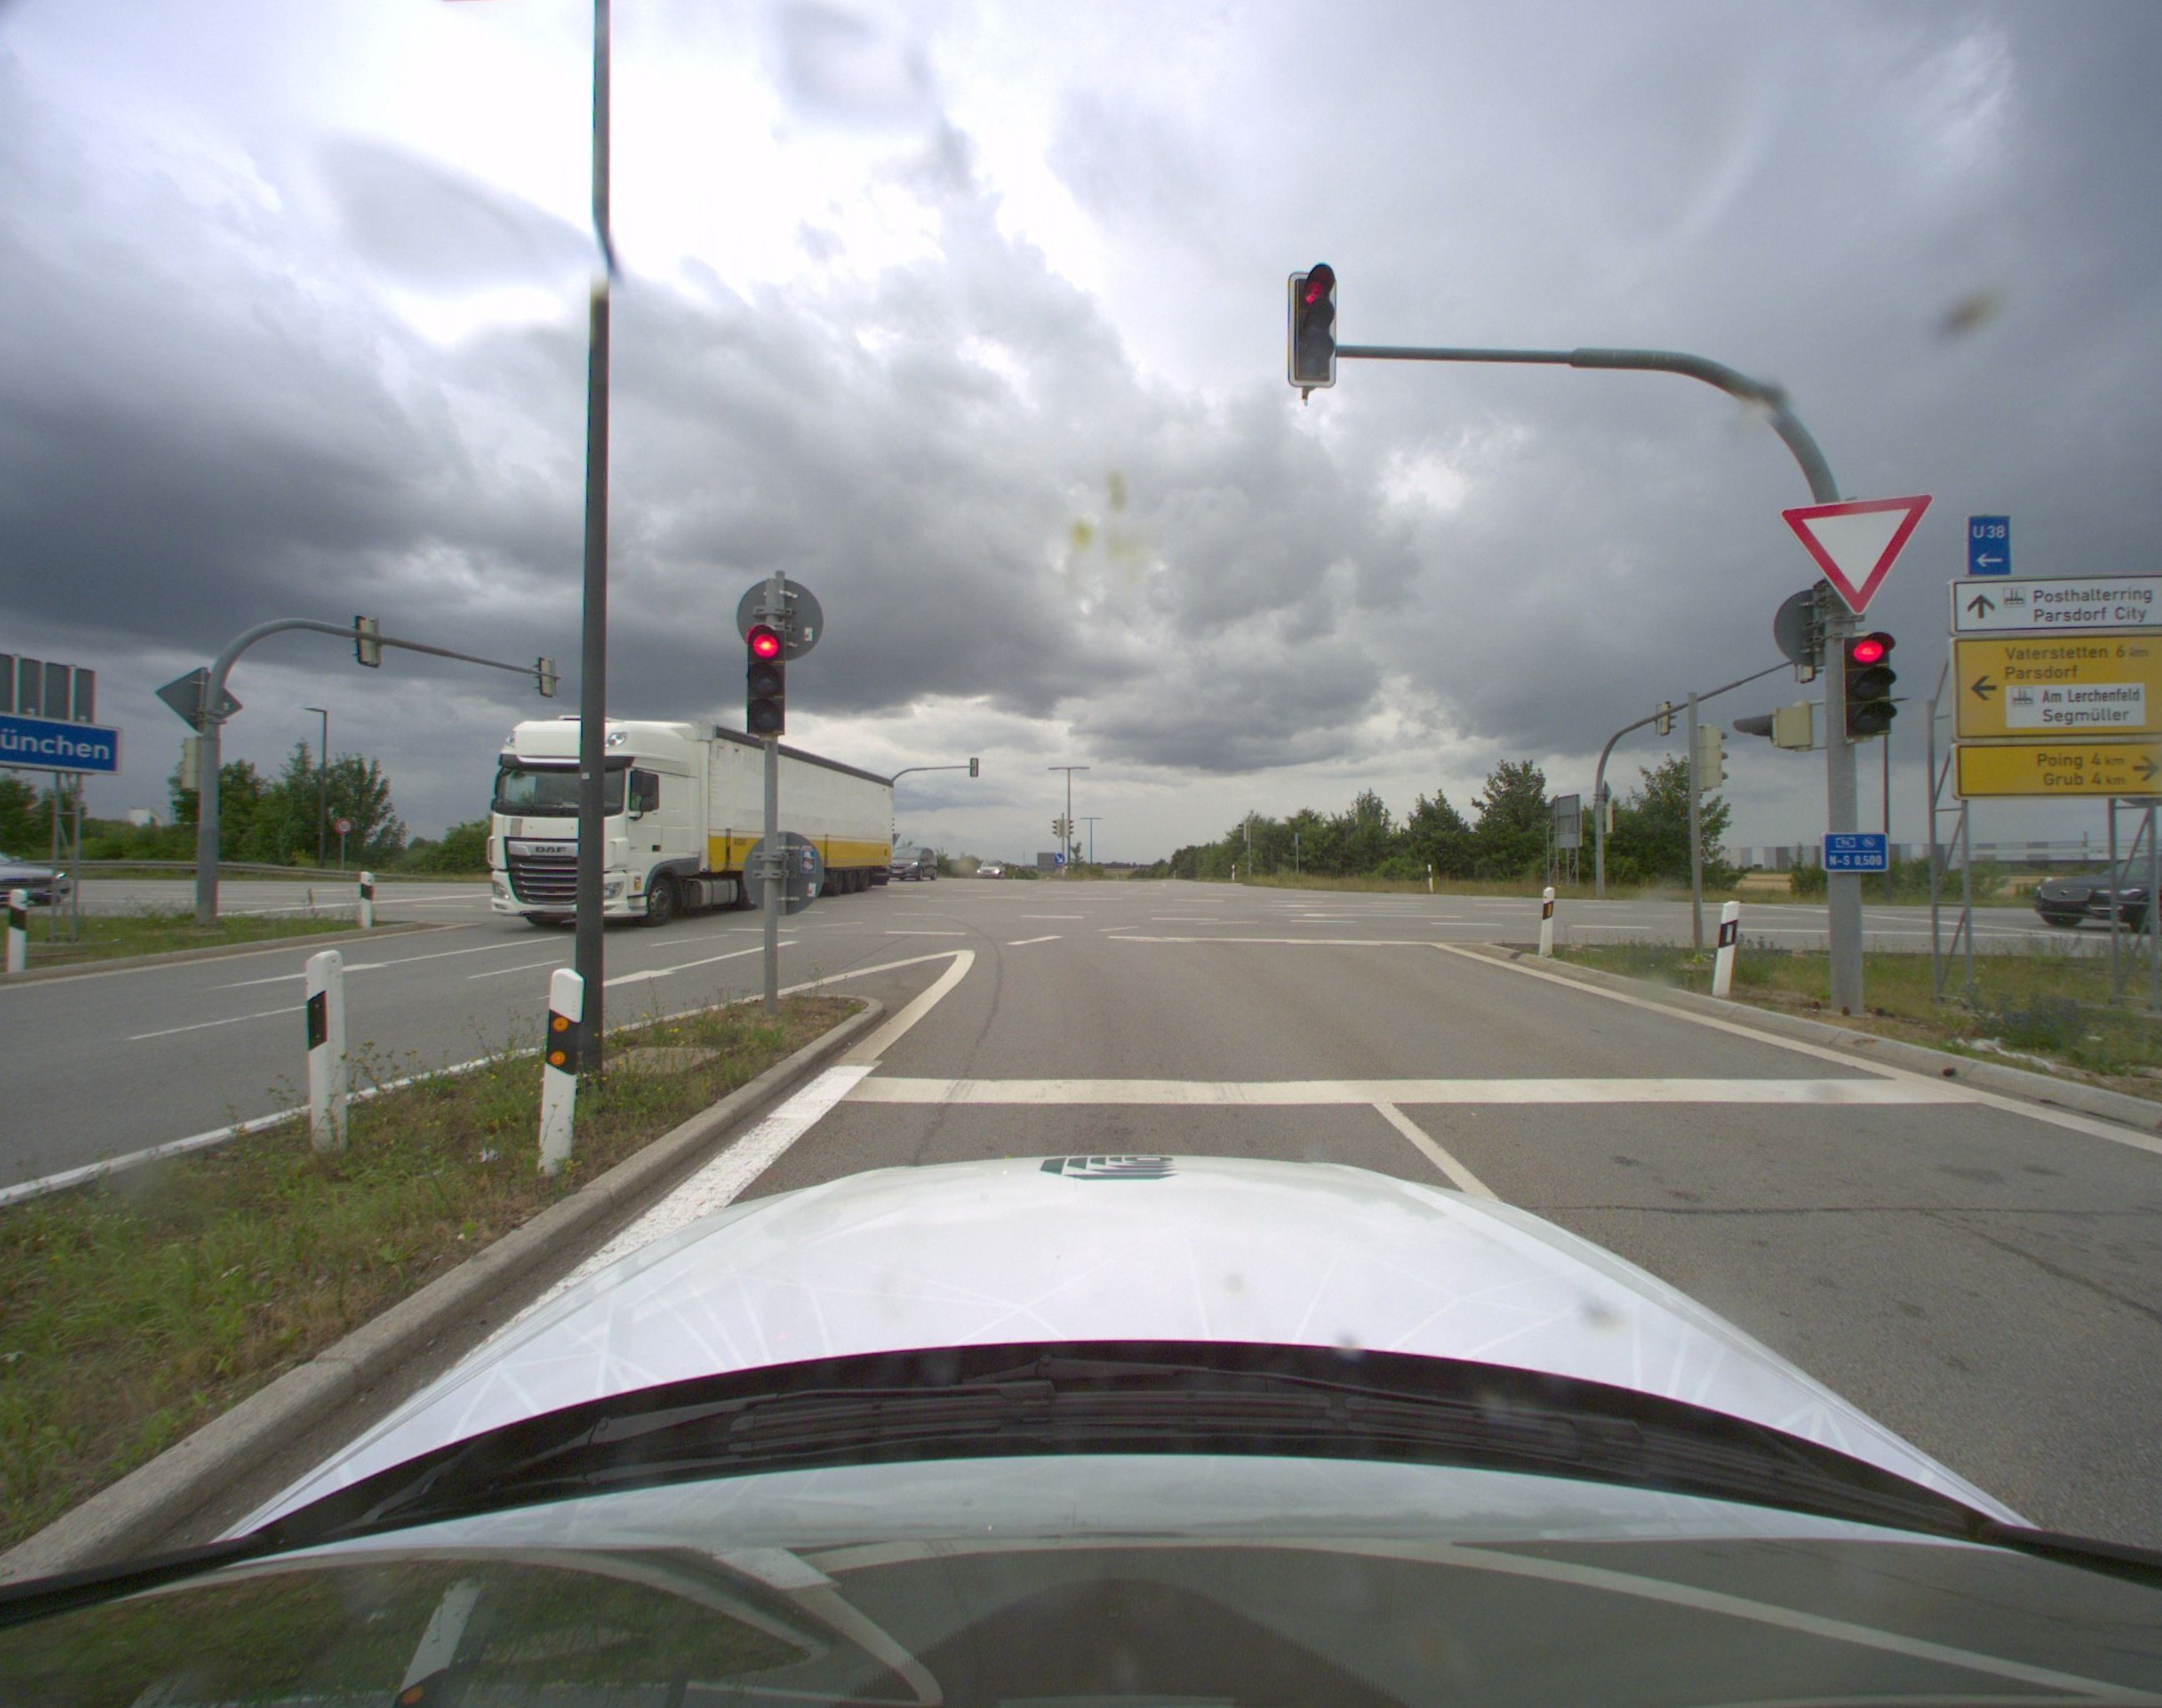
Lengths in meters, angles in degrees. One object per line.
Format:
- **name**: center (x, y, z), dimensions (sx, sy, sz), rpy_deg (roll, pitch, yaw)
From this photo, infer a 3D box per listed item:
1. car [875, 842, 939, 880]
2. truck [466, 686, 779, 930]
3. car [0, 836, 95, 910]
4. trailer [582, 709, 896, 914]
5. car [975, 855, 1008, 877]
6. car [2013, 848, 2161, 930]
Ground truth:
- **car**: center (-8.244, 0.346, 39.062), dimensions (1.986, 1.694, 4.457), rpy_deg (0, -1, 2)
- **truck**: center (-9.025, -0.755, 17.094), dimensions (2.638, 4.141, 6.409), rpy_deg (0, -1, 3)
- **car**: center (-26.133, 0.417, 18.708), dimensions (4.909, 1.610, 1.923), rpy_deg (0, 0, 5)
- **trailer**: center (-8.667, -0.817, 23.768), dimensions (2.681, 4.210, 13.850), rpy_deg (0, -1, 3)
- **car**: center (-6.582, 0.855, 60.212), dimensions (1.803, 1.520, 4.244), rpy_deg (0, 1, 2)
- **car**: center (24.099, 0.746, 17.667), dimensions (4.951, 1.684, 2.006), rpy_deg (0, 0, 10)
